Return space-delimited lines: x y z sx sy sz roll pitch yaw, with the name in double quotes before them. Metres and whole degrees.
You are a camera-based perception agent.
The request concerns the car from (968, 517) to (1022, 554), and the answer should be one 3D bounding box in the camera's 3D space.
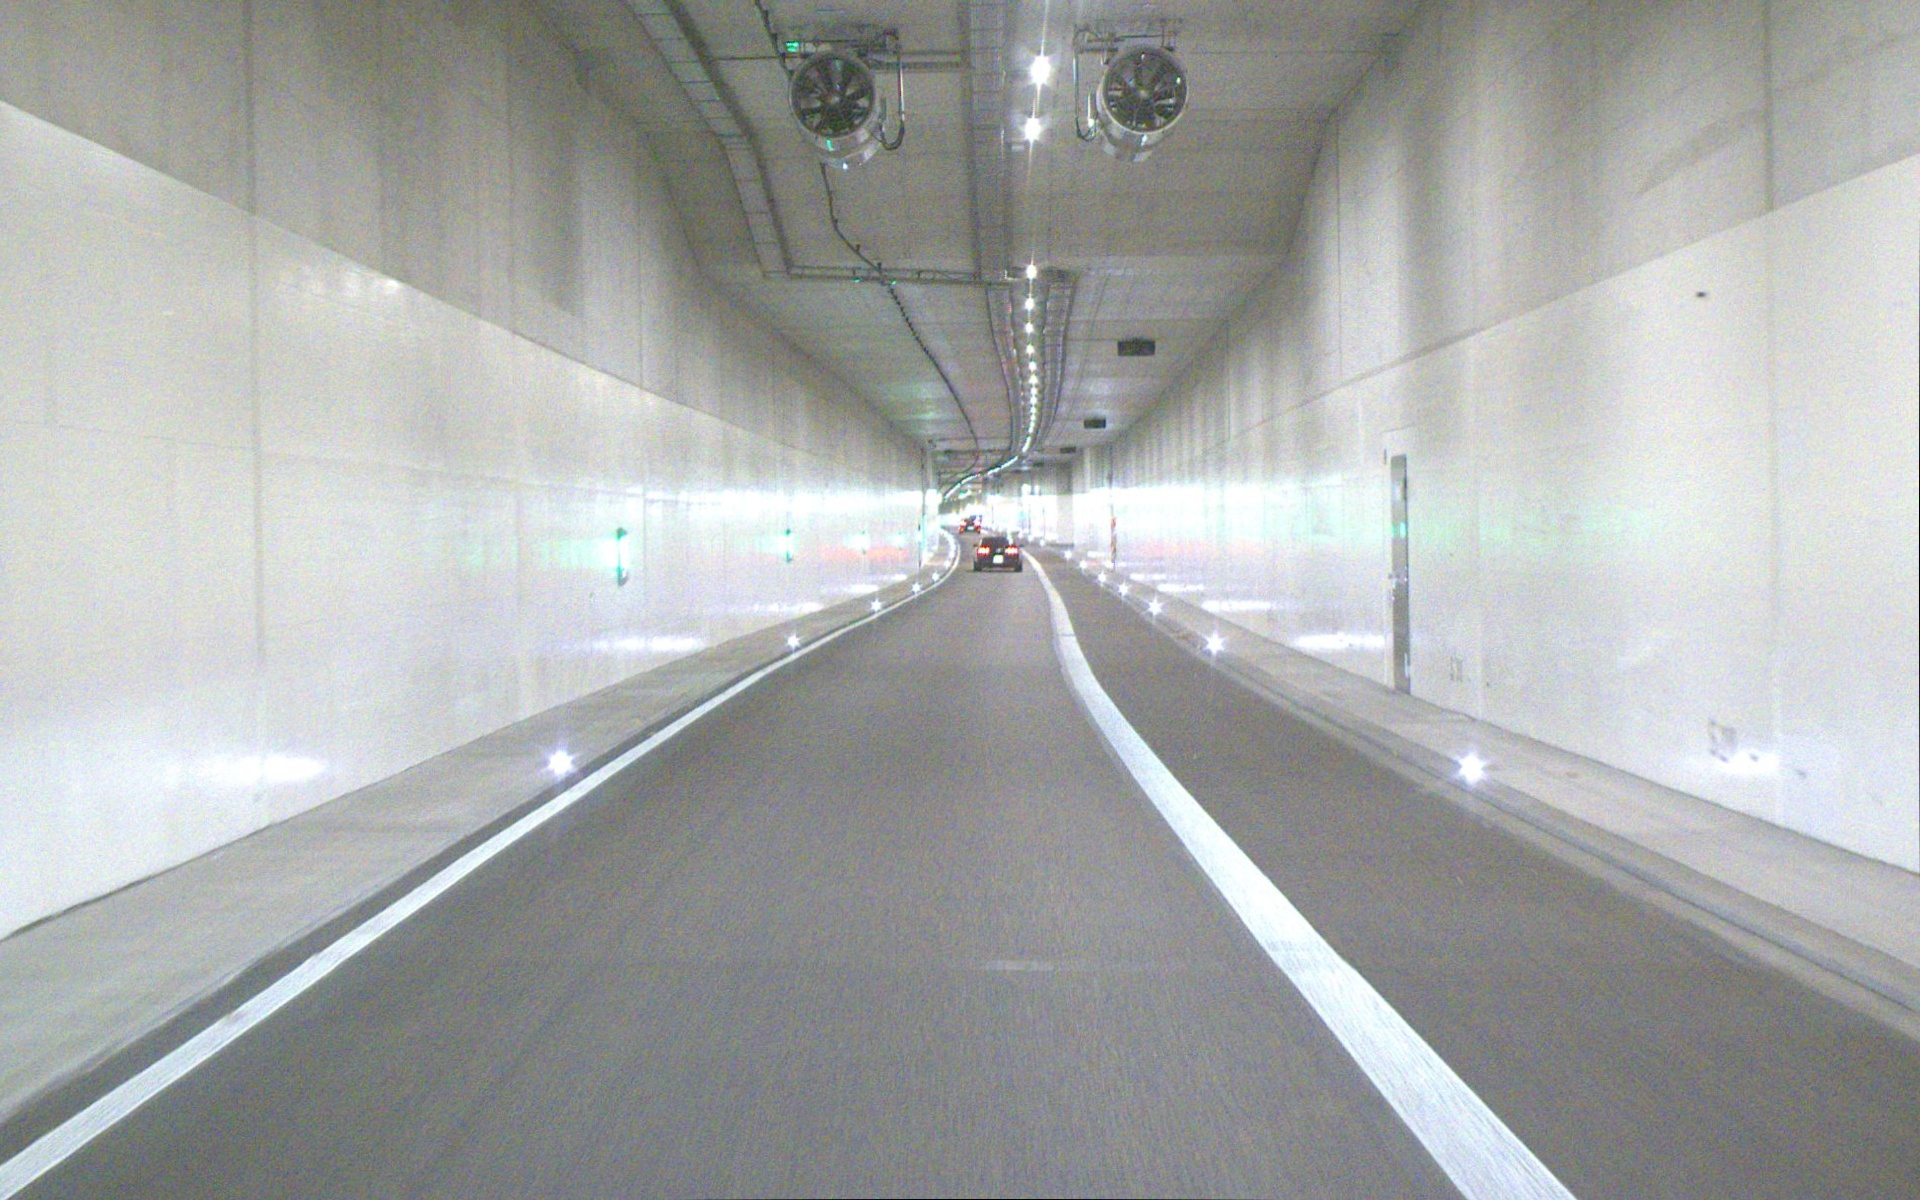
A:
"car" 1.354 -2.523 134.240 1.993 1.415 4.000 -1 1 -1
